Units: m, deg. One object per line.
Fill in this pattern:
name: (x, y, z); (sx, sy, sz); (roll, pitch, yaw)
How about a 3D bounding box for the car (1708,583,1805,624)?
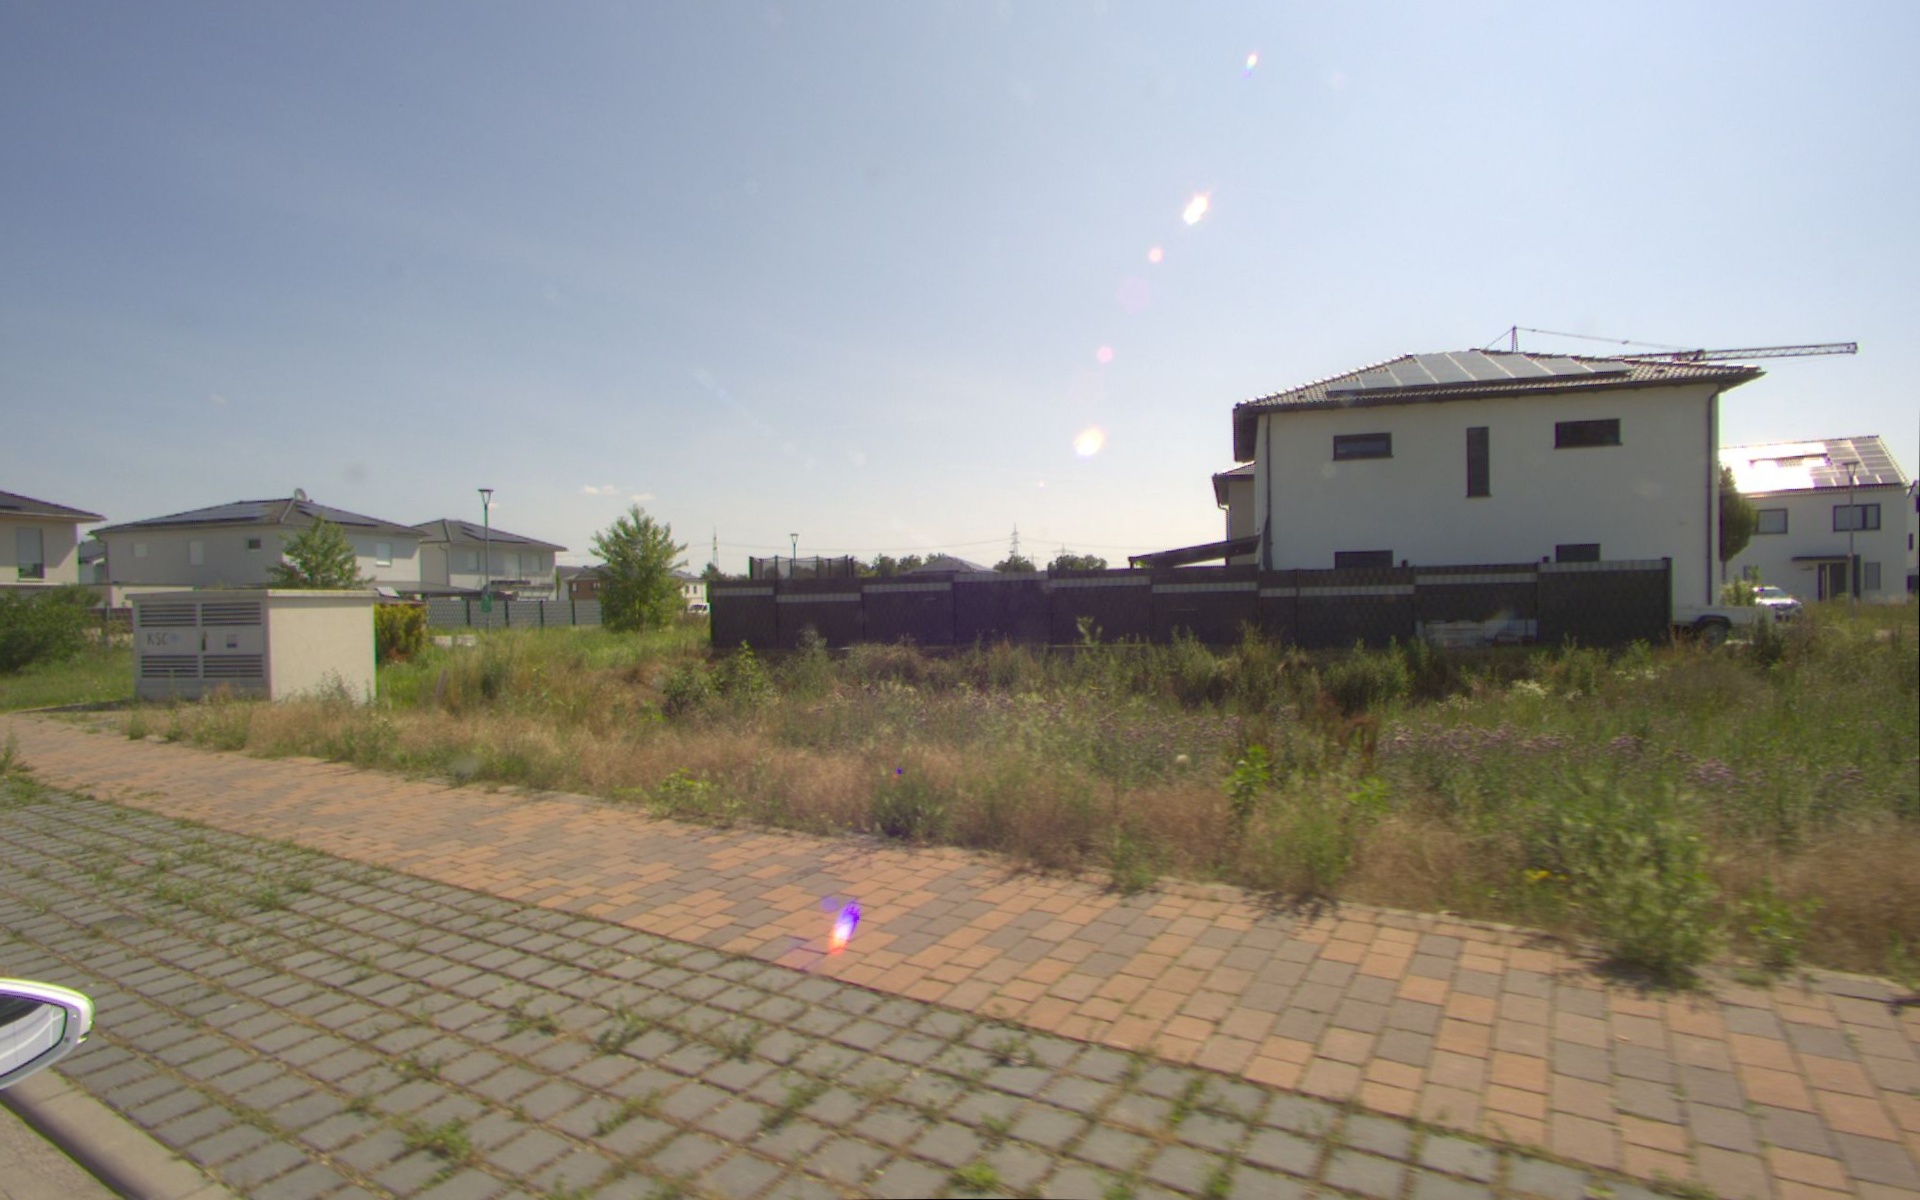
car: (30.396, 0.145, 38.331); (1.712, 1.461, 3.823); (-1, 0, 19)
